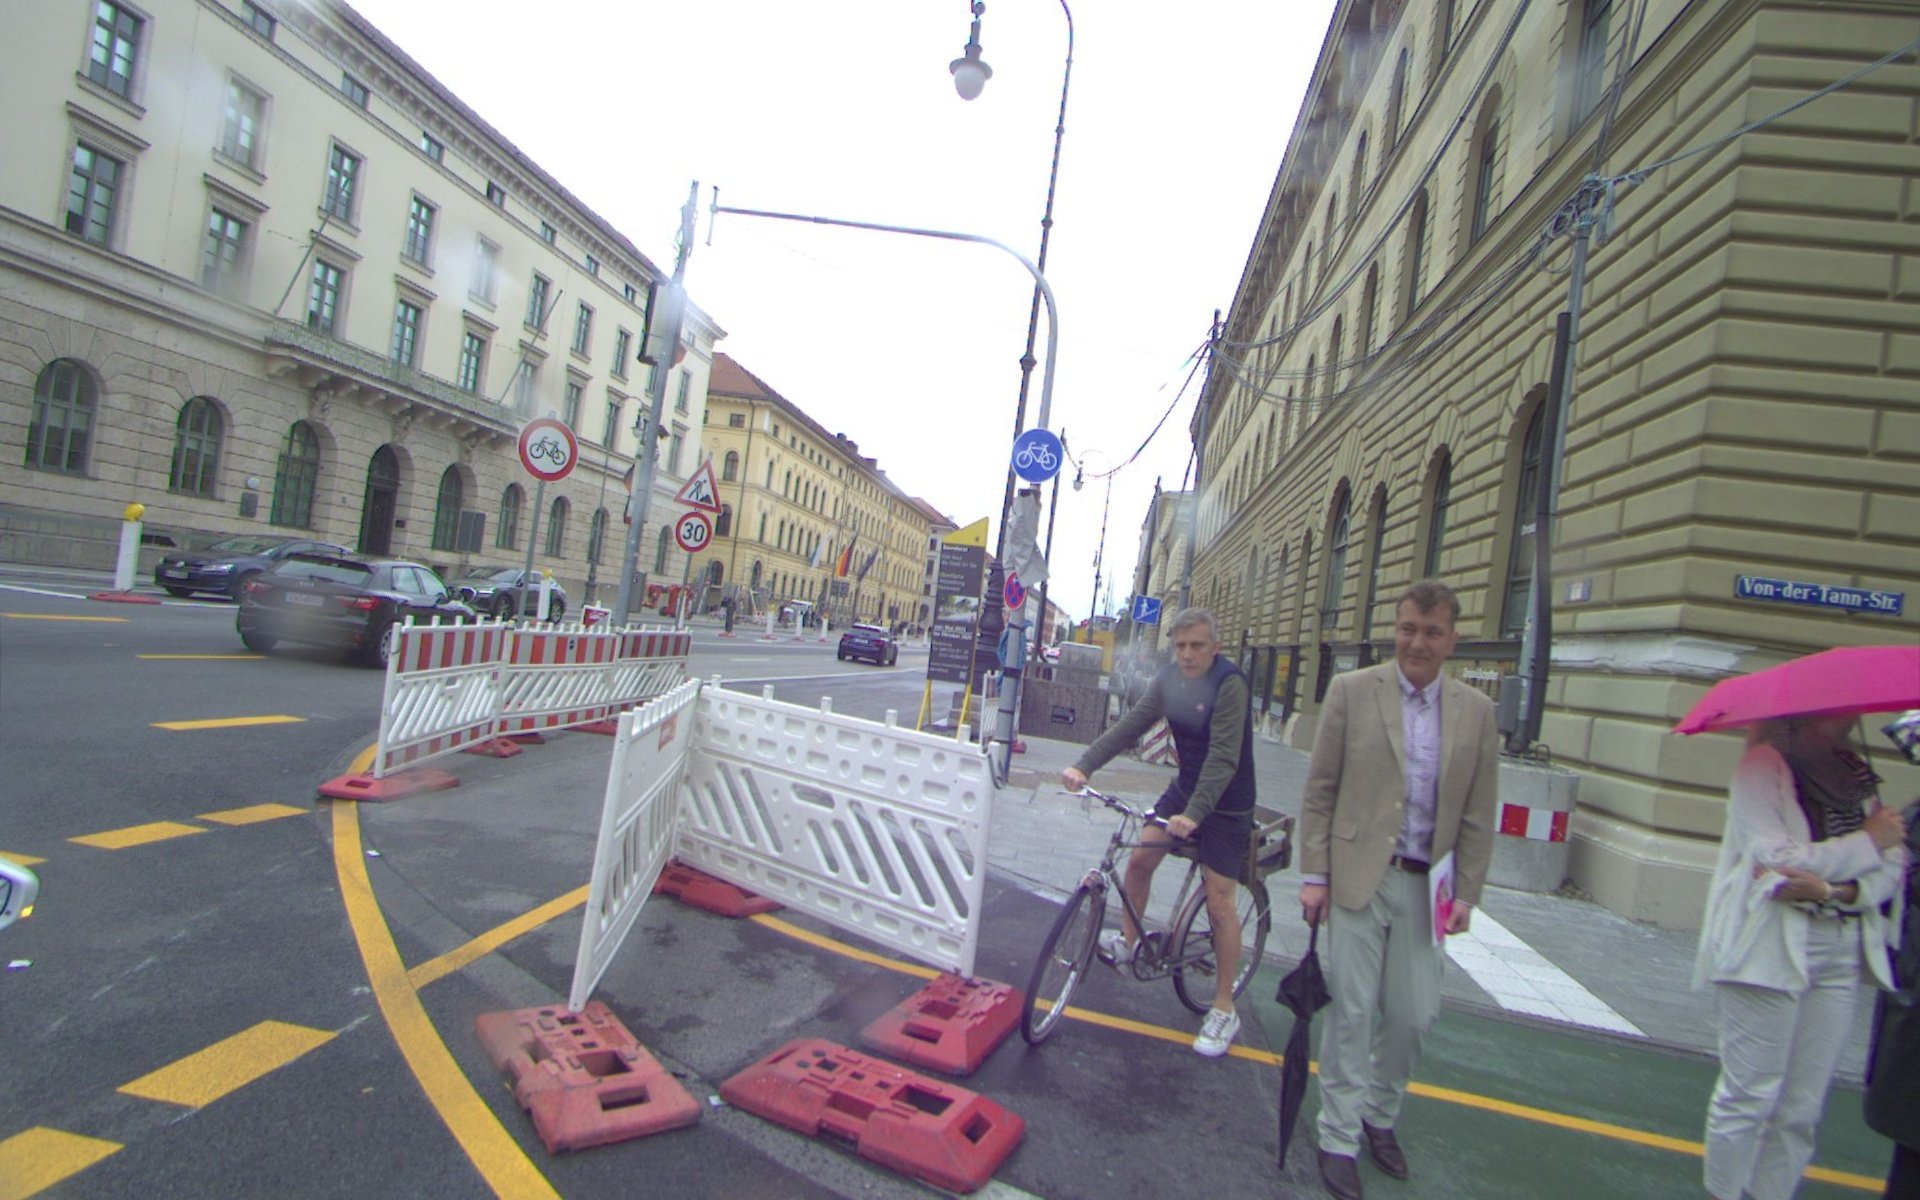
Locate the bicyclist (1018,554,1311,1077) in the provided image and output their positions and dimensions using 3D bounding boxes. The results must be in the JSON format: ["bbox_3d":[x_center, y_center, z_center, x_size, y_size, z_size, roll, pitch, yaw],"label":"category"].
[{"bbox_3d":[0.837,0.816,4.086,0.794,1.875,0.561,9,-1,-39],"label":"bicyclist"}]

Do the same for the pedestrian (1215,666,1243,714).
[{"bbox_3d":[9.273,3.108,34.701,0.494,1.572,0.628,7,-1,44],"label":"pedestrian"}]

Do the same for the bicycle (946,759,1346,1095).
[{"bbox_3d":[0.823,1.244,4.117,1.645,1.023,0.580,10,-2,-39],"label":"bicycle"}]

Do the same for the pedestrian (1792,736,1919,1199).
[{"bbox_3d":[3.344,1.295,3.197,0.669,1.585,0.706,8,-1,11],"label":"pedestrian"}]

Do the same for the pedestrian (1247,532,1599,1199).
[{"bbox_3d":[1.350,0.821,3.085,0.629,1.906,0.706,8,-1,14],"label":"pedestrian"}]

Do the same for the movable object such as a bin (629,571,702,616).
[{"bbox_3d":[-17.589,-0.328,60.377,1.487,2.036,5.984,8,-2,10],"label":"movable object such as a bin"}]

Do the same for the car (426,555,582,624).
[{"bbox_3d":[-12.975,-0.233,28.982,1.757,1.585,4.580,6,-1,9],"label":"car"}]

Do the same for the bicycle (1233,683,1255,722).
[{"bbox_3d":[8.445,3.031,29.951,0.371,1.034,1.652,8,-1,12],"label":"bicycle"}]

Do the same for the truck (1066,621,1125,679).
[{"bbox_3d":[7.864,2.916,57.786,2.581,2.795,5.815,8,-2,13],"label":"truck"}]

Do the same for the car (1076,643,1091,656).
[{"bbox_3d":[18.374,7.377,149.268,1.830,1.596,4.006,8,-2,10],"label":"car"}]

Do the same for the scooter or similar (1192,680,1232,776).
[{"bbox_3d":[3.587,1.801,14.363,0.344,1.264,1.142,8,-2,12],"label":"scooter or similar"}]

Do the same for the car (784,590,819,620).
[{"bbox_3d":[-14.695,0.519,93.617,1.711,2.314,4.006,8,-2,10],"label":"car"}]

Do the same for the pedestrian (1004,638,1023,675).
[{"bbox_3d":[2.563,2.718,48.416,0.606,1.721,0.542,8,-1,12],"label":"pedestrian"}]

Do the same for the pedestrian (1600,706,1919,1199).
[{"bbox_3d":[2.455,1.155,2.961,0.573,1.585,0.706,8,-1,11],"label":"pedestrian"}]

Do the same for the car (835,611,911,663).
[{"bbox_3d":[-3.268,1.456,38.541,1.741,1.635,4.006,8,-2,10],"label":"car"}]

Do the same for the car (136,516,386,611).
[{"bbox_3d":[-14.307,-0.669,20.950,1.716,1.404,4.246,7,-2,9],"label":"car"}]

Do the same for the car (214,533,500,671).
[{"bbox_3d":[-8.204,0.066,14.183,1.838,1.404,3.997,9,-2,-7],"label":"car"}]

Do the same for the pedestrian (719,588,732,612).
[{"bbox_3d":[-17.179,0.018,73.629,0.544,1.695,0.618,8,-1,6],"label":"pedestrian"}]

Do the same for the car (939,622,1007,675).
[{"bbox_3d":[0.584,1.892,39.801,2.036,1.681,4.226,9,-1,7],"label":"car"}]

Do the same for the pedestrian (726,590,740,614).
[{"bbox_3d":[-16.610,0.130,73.589,0.602,1.671,0.618,8,-1,6],"label":"pedestrian"}]

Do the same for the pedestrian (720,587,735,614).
[{"bbox_3d":[-17.760,0.052,76.711,0.669,1.953,0.653,8,-1,6],"label":"pedestrian"}]
